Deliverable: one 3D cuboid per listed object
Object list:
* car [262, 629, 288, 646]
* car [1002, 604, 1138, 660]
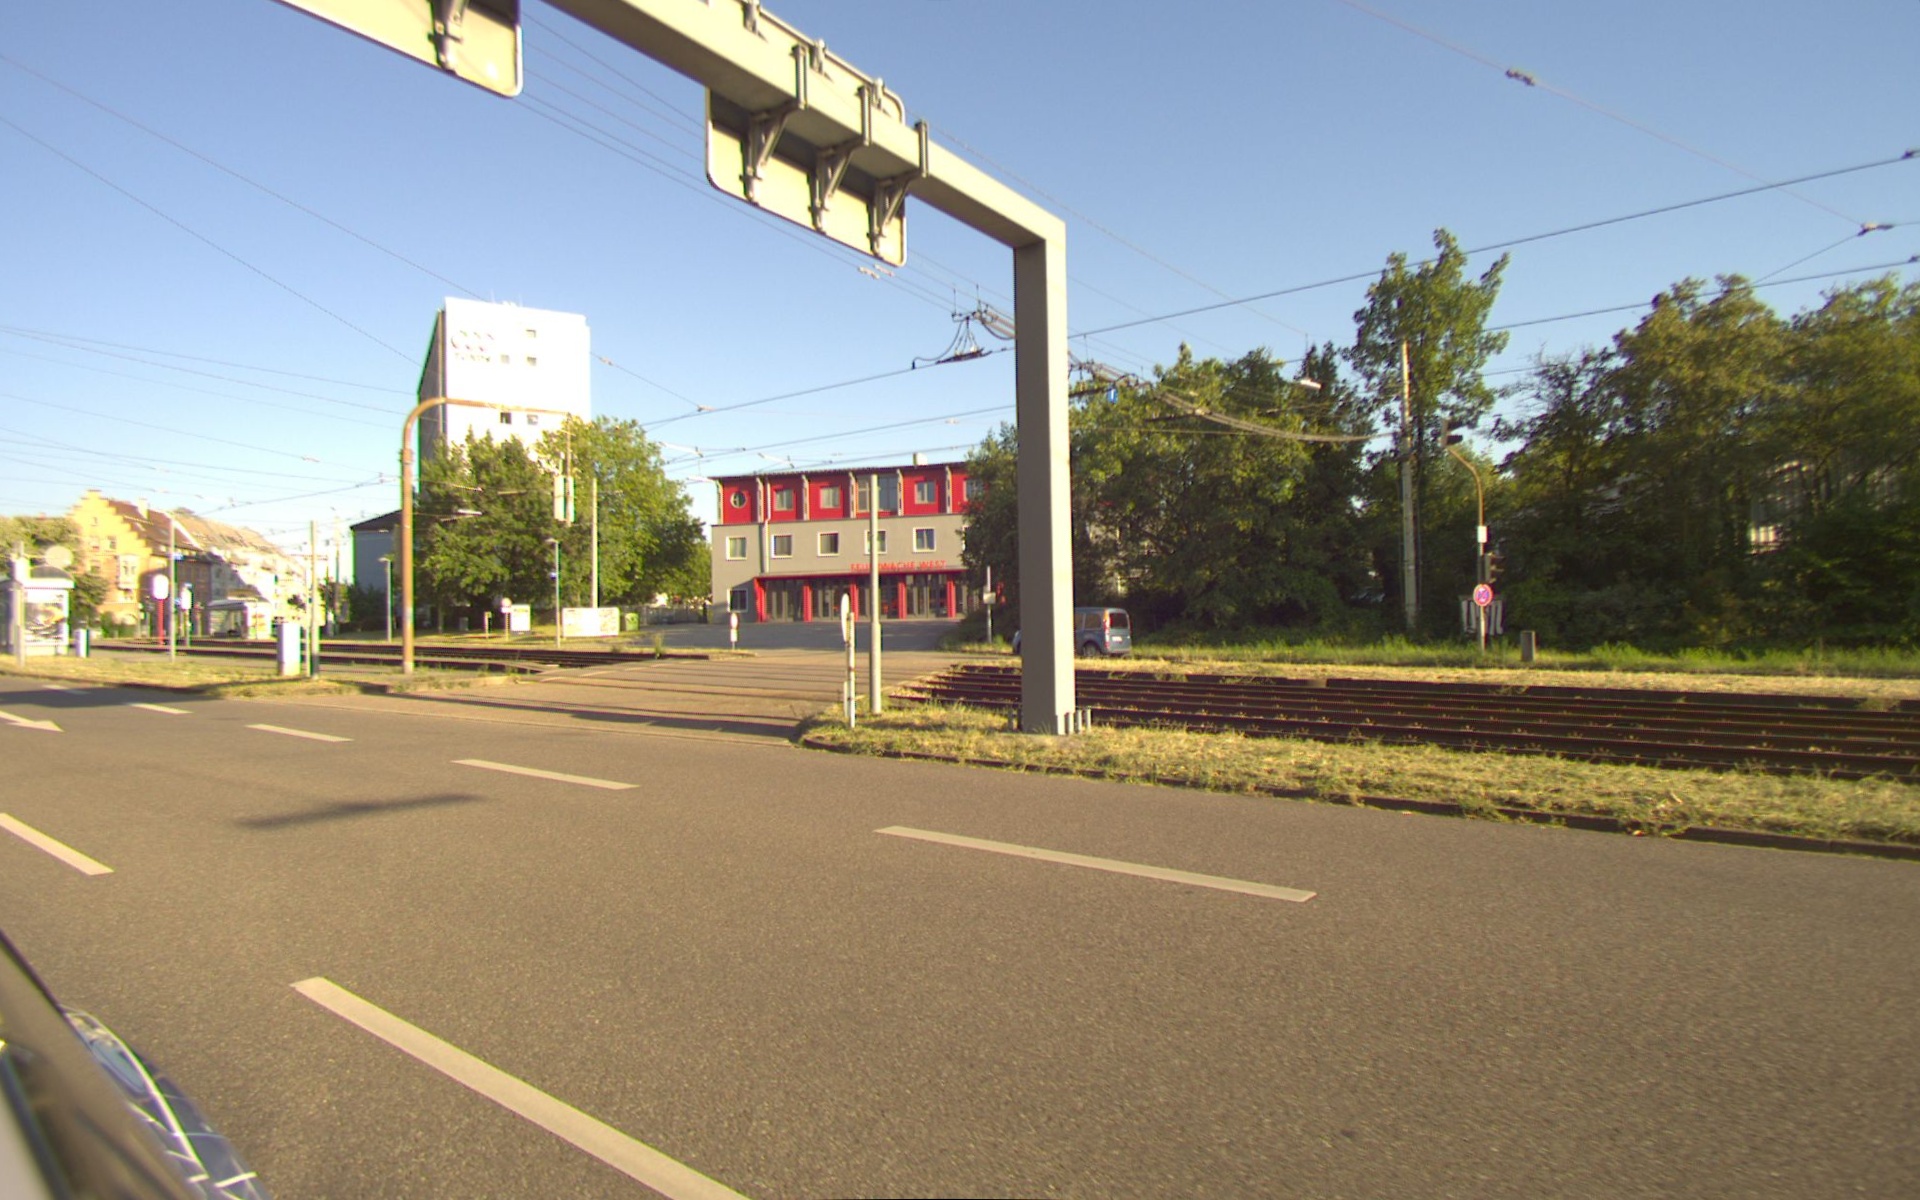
[{"bbox_3d":[-67.292,3.664,99.431,1.714,1.560,4.443,0,-2,-39],"label":"car"},{"bbox_3d":[3.703,1.108,34.550,4.255,1.801,1.914,-2,-2,40],"label":"car"}]
